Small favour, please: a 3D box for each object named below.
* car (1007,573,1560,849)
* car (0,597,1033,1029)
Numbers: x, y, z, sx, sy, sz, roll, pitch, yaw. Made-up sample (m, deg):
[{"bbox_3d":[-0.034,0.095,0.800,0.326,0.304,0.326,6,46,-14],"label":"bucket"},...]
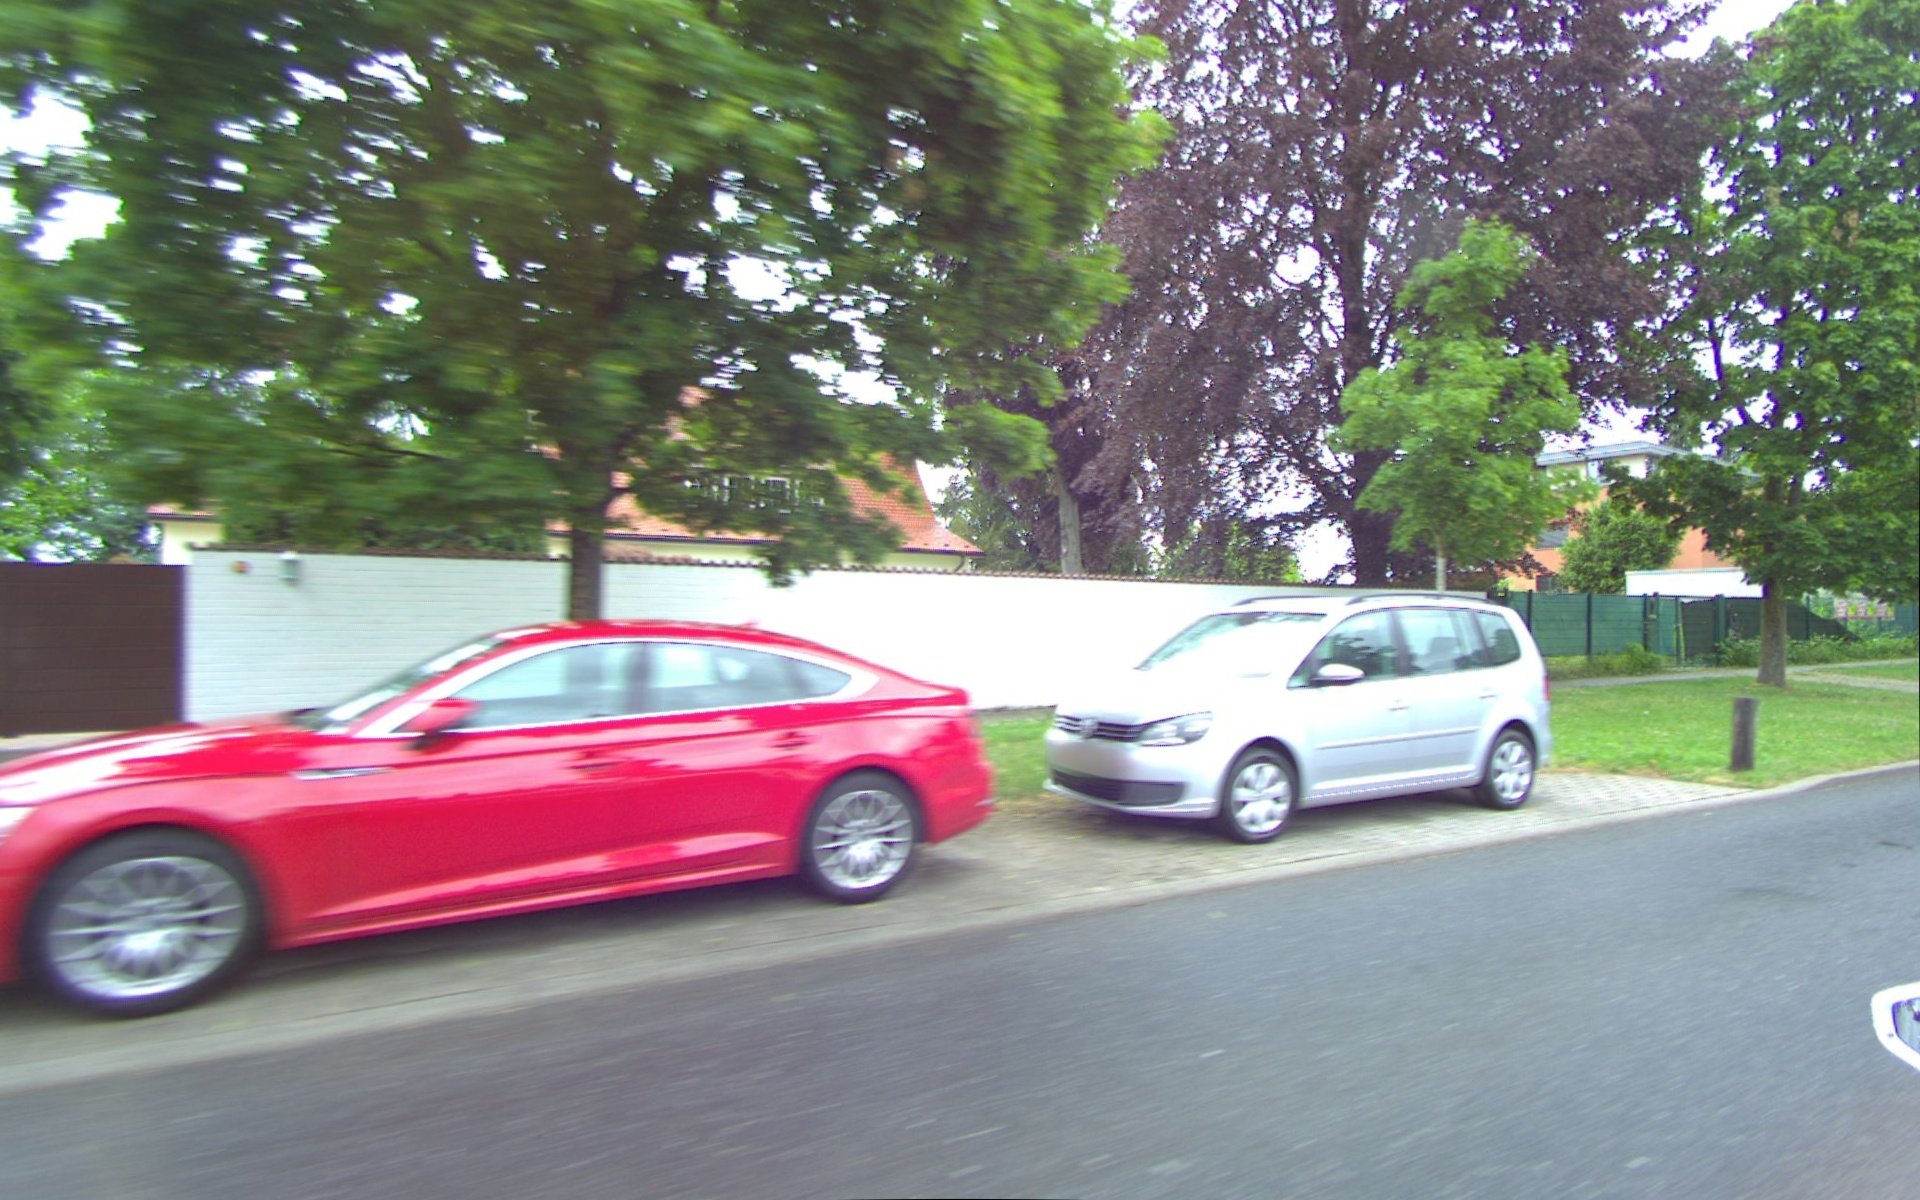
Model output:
[{"bbox_3d":[2.595,0.713,7.824,4.181,1.649,1.749,1,-1,-29],"label":"car"},{"bbox_3d":[-2.033,0.746,5.139,4.504,1.422,1.984,1,-1,-31],"label":"car"}]
